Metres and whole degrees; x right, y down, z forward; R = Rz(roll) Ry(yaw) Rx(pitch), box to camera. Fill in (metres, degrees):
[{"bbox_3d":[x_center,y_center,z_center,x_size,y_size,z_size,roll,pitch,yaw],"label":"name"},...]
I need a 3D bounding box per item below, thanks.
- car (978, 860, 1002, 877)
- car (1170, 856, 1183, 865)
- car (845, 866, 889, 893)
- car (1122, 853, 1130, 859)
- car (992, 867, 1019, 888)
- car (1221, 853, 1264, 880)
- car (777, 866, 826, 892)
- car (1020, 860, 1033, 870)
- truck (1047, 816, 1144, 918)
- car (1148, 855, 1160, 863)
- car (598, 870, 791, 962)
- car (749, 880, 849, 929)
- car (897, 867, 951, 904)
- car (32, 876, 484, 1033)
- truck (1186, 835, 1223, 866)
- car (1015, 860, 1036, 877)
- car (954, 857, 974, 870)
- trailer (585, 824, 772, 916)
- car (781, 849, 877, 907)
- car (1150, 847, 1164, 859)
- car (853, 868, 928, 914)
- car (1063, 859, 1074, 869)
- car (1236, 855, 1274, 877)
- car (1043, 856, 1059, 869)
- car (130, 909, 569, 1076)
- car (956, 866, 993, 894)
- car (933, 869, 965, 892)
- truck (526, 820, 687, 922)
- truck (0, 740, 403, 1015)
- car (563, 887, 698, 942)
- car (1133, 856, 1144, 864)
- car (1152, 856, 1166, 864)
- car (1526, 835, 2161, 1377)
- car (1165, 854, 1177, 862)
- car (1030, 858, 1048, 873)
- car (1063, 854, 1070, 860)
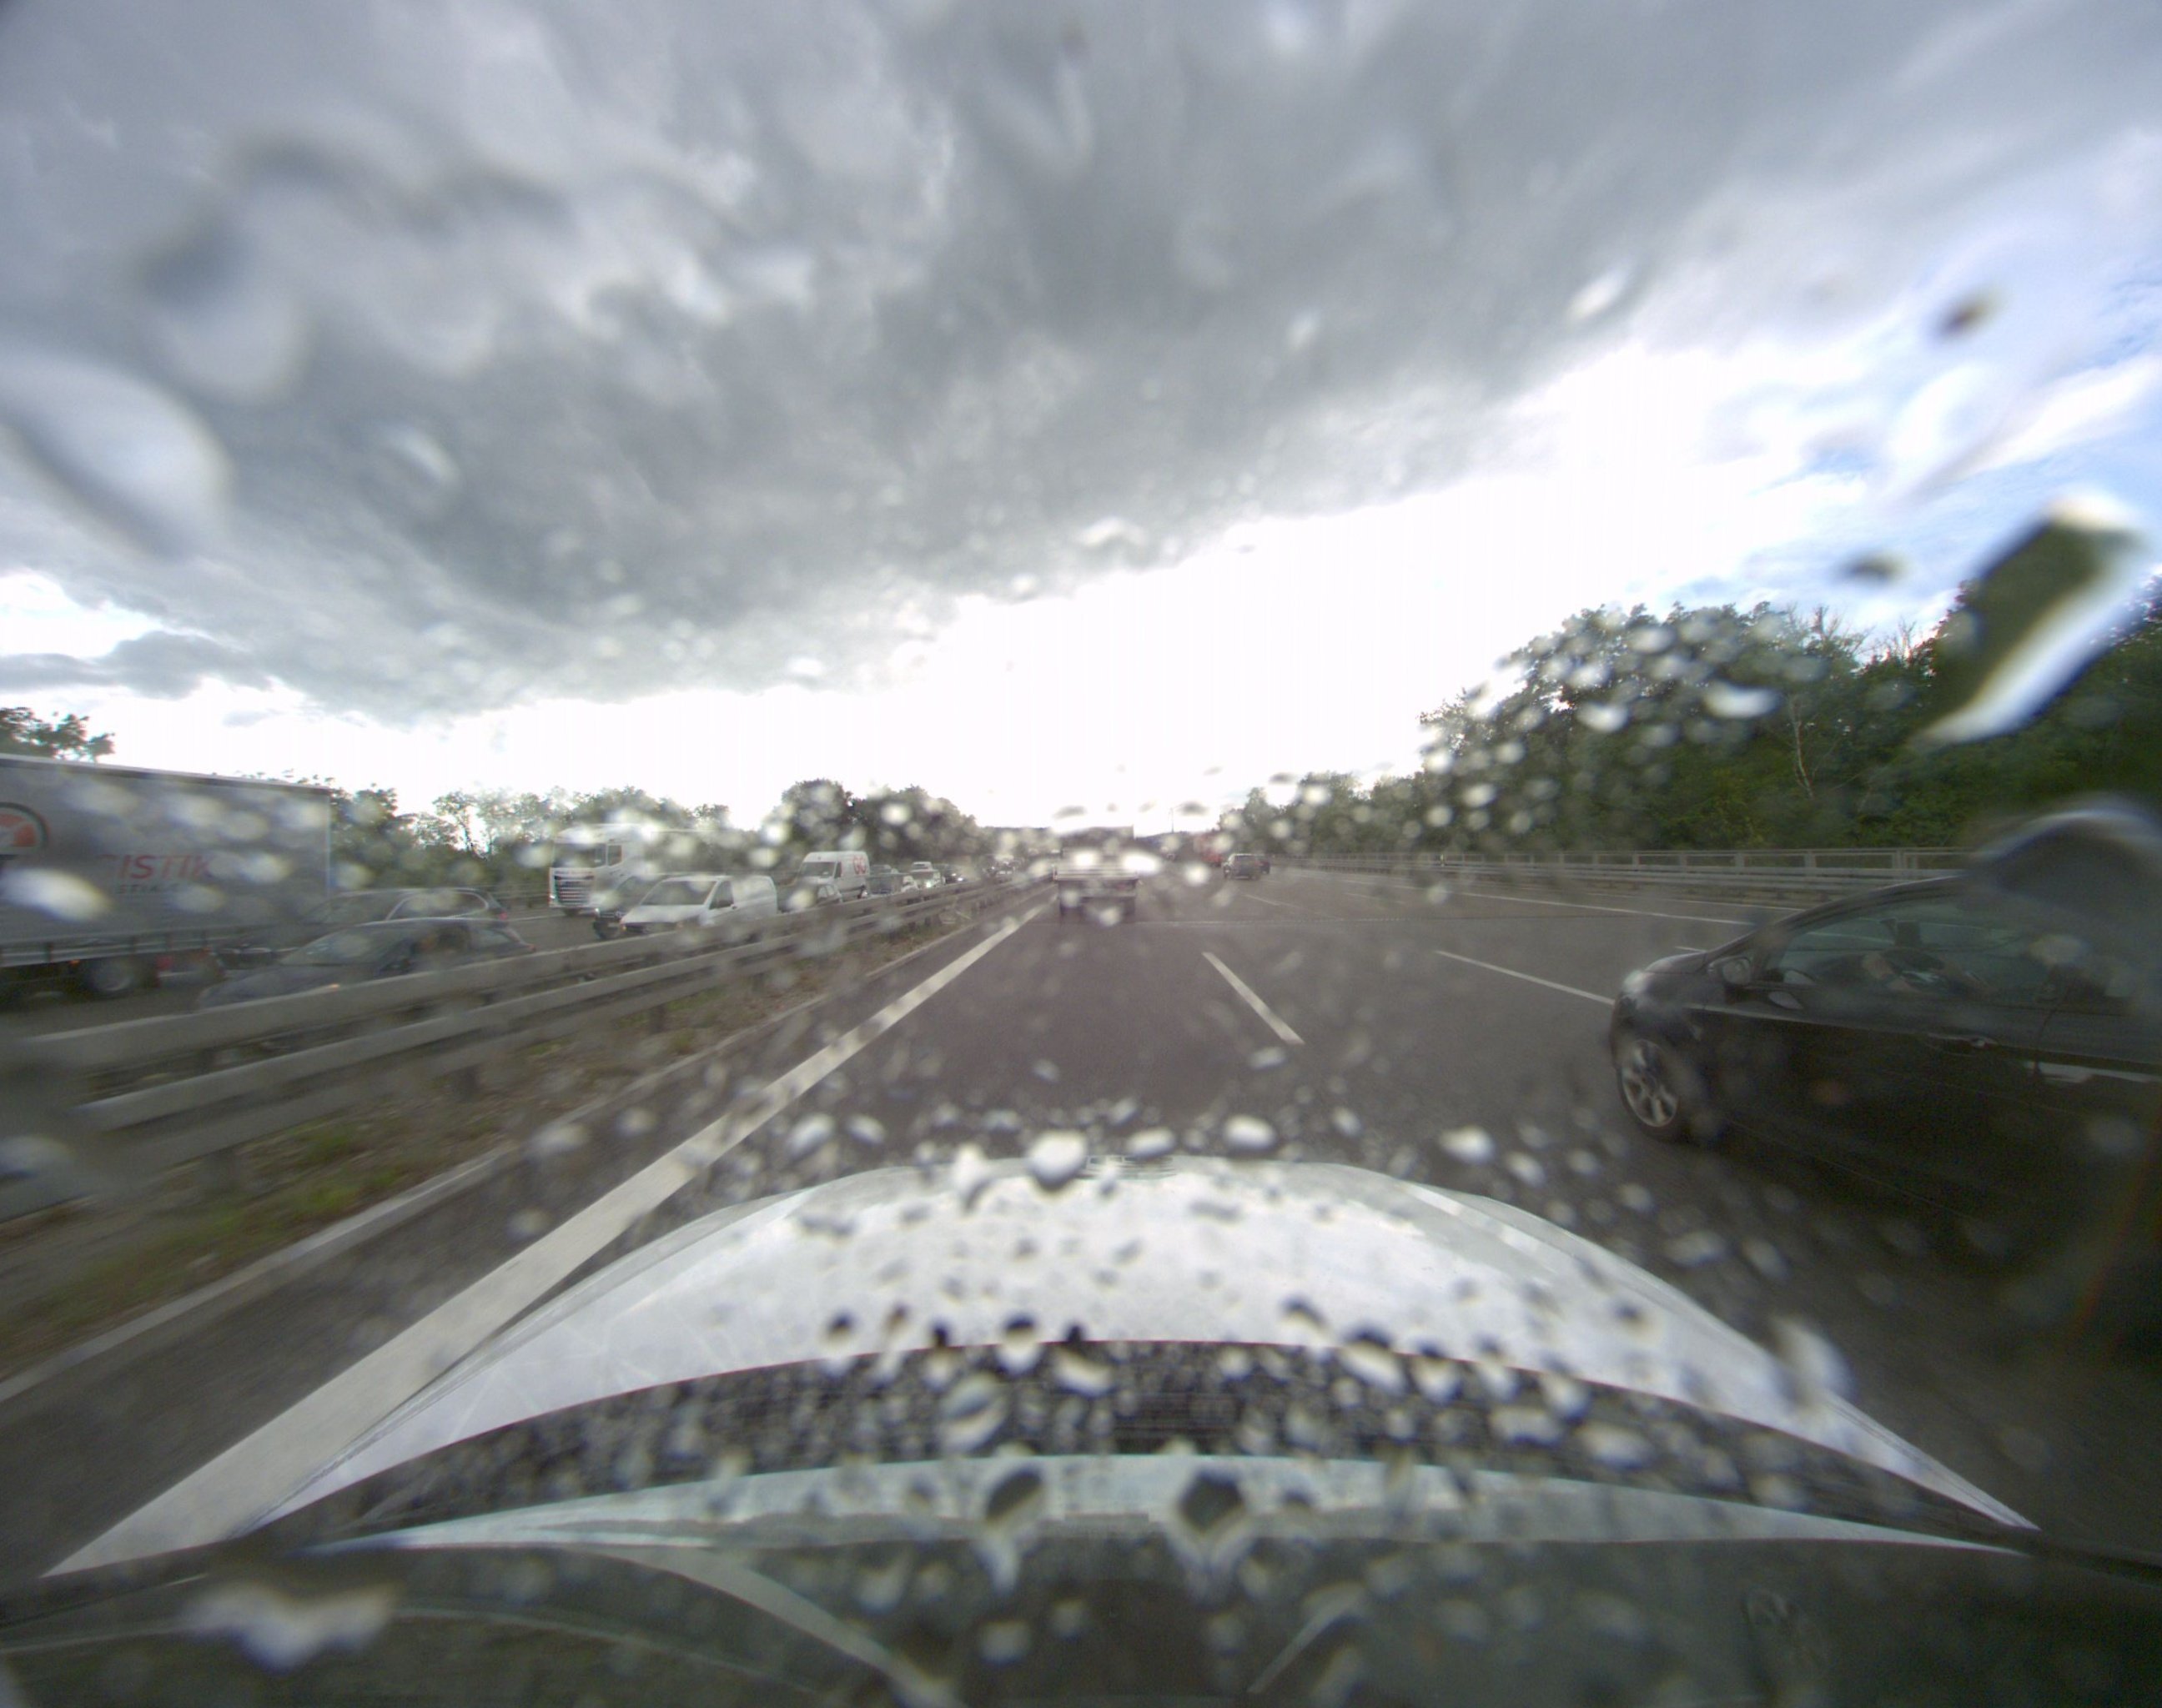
[{"bbox_3d":[-10.185,1.590,91.519,1.886,1.801,4.598,-2,0,2],"label":"car"},{"bbox_3d":[18.908,1.277,161.072,1.962,1.561,4.430,-2,0,-1],"label":"car"},{"bbox_3d":[-15.978,1.883,60.948,1.886,1.801,4.598,-2,0,2],"label":"car"},{"bbox_3d":[12.899,0.610,232.518,1.962,1.561,4.431,-2,0,-1],"label":"car"},{"bbox_3d":[-7.031,2.128,75.949,1.886,1.801,4.598,-2,0,2],"label":"car"},{"bbox_3d":[9.780,0.737,49.557,1.875,1.542,4.435,-2,0,2],"label":"car"},{"bbox_3d":[-21.097,1.836,61.652,1.886,1.801,4.598,-2,0,2],"label":"car"},{"bbox_3d":[-10.255,2.040,154.201,1.886,1.801,4.598,-2,0,2],"label":"car"},{"bbox_3d":[0.471,0.297,23.302,2.298,2.439,7.152,-1,0,2],"label":"truck"},{"bbox_3d":[16.090,1.112,179.029,1.963,1.561,4.429,-2,0,-2],"label":"car"},{"bbox_3d":[-9.327,1.388,20.377,1.887,1.801,5.843,-2,0,1],"label":"car"},{"bbox_3d":[-8.942,1.563,26.216,1.616,1.297,4.251,-2,0,1],"label":"car"},{"bbox_3d":[-8.504,1.670,44.494,1.887,1.801,4.597,-2,0,1],"label":"car"},{"bbox_3d":[-13.343,1.450,13.962,1.886,1.962,5.590,-2,0,2],"label":"car"},{"bbox_3d":[15.177,-0.466,101.097,3.140,3.601,12.708,0,1,2],"label":"truck"},{"bbox_3d":[-6.148,1.603,90.869,1.886,1.801,4.598,-2,0,2],"label":"car"},{"bbox_3d":[-16.799,1.342,117.121,1.886,1.801,4.598,-2,0,2],"label":"car"},{"bbox_3d":[-20.609,0.731,43.265,2.997,4.032,13.143,-2,0,1],"label":"trailer"},{"bbox_3d":[-12.700,1.112,41.802,2.118,2.636,7.615,-2,0,3],"label":"car"},{"bbox_3d":[12.554,-0.189,134.740,1.986,2.013,4.002,0,1,2],"label":"car"},{"bbox_3d":[-8.459,1.578,36.663,1.887,1.801,5.571,-2,0,1],"label":"car"},{"bbox_3d":[-2.385,1.931,157.132,1.886,1.801,4.598,-2,0,2],"label":"car"},{"bbox_3d":[13.331,0.904,62.687,1.877,1.561,4.431,-2,0,-1],"label":"car"},{"bbox_3d":[-4.374,1.279,118.364,1.886,1.801,4.598,-2,0,2],"label":"car"},{"bbox_3d":[-9.463,1.672,11.201,1.887,1.488,4.478,-2,0,1],"label":"car"},{"bbox_3d":[-7.703,1.852,59.260,1.886,1.801,4.598,-2,0,2],"label":"car"},{"bbox_3d":[-11.416,2.298,70.767,1.886,1.801,4.598,-2,0,2],"label":"car"},{"bbox_3d":[-20.815,0.698,36.250,3.012,4.052,6.537,-2,0,2],"label":"truck"},{"bbox_3d":[-17.569,0.395,13.028,2.787,4.112,12.299,-2,0,2],"label":"truck"},{"bbox_3d":[-13.417,1.763,24.565,1.616,1.297,4.251,-2,0,1],"label":"car"},{"bbox_3d":[11.921,1.274,169.175,1.962,1.561,4.430,-2,0,-1],"label":"car"},{"bbox_3d":[15.017,1.172,156.996,1.962,1.561,4.430,-2,0,-1],"label":"car"},{"bbox_3d":[3.732,0.689,3.257,1.710,1.417,4.280,1,-1,2],"label":"car"},{"bbox_3d":[20.297,0.923,183.720,1.962,1.561,4.430,-2,0,-1],"label":"car"},{"bbox_3d":[-5.326,1.455,104.095,1.886,1.801,4.598,-2,0,2],"label":"car"},{"bbox_3d":[-4.185,0.969,240.312,1.886,1.801,4.598,-2,0,2],"label":"car"}]
